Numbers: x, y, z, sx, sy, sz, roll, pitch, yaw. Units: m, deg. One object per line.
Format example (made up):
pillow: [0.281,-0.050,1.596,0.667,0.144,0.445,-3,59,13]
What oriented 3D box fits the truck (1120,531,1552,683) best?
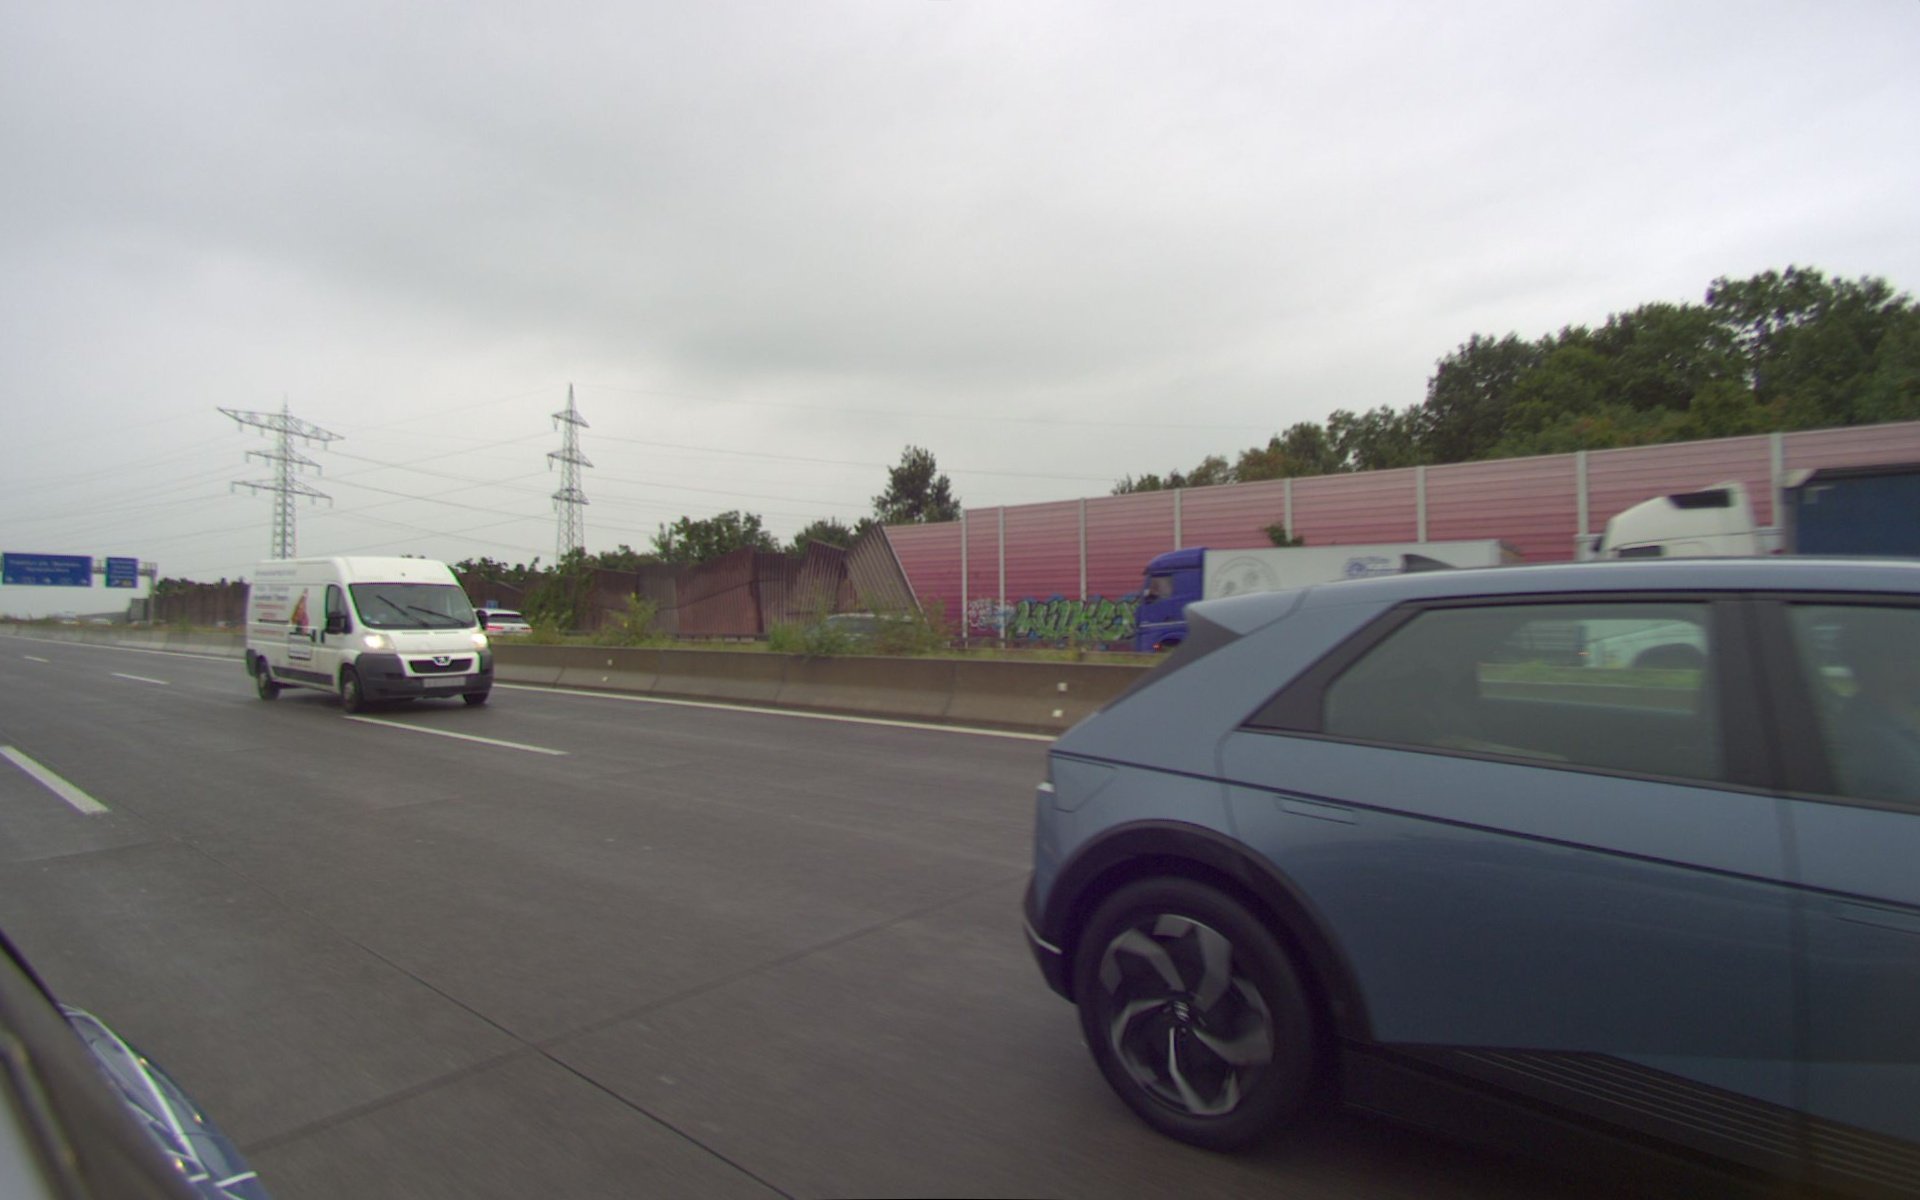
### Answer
truck: [9.443,0.222,26.799,10.426,3.376,2.685,-1,0,41]

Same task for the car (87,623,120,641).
car: [-87.355,3.196,103.210,4.466,1.752,1.972,-1,-1,42]

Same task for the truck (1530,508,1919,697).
truck: [16.727,0.063,20.379,8.695,3.376,2.942,-1,0,41]

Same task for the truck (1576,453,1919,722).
truck: [14.385,-0.182,17.384,6.048,4.058,3.015,-1,0,41]

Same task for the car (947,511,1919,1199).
car: [2.494,0.647,2.209,5.153,1.606,1.819,-1,-1,41]

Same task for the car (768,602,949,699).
car: [-2.389,1.085,23.182,4.236,2.029,1.700,-1,-1,41]

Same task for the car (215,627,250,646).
car: [-71.707,3.562,99.759,4.263,1.752,1.972,-1,-1,42]

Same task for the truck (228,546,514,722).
truck: [-10.304,0.521,17.377,6.579,2.498,2.214,-1,0,41]

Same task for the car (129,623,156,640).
car: [-102.443,3.972,126.817,3.999,2.029,1.972,-1,-1,42]

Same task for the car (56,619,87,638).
car: [-85.156,2.674,97.007,3.999,1.752,1.834,-1,-1,42]

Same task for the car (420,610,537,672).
car: [-16.846,1.385,35.332,4.789,2.029,1.973,-1,-1,41]

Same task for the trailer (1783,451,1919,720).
trailer: [19.600,-0.322,12.817,14.118,4.058,3.014,-1,0,41]

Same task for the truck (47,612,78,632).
truck: [-103.858,2.556,117.064,5.418,2.222,2.122,-1,-1,42]
